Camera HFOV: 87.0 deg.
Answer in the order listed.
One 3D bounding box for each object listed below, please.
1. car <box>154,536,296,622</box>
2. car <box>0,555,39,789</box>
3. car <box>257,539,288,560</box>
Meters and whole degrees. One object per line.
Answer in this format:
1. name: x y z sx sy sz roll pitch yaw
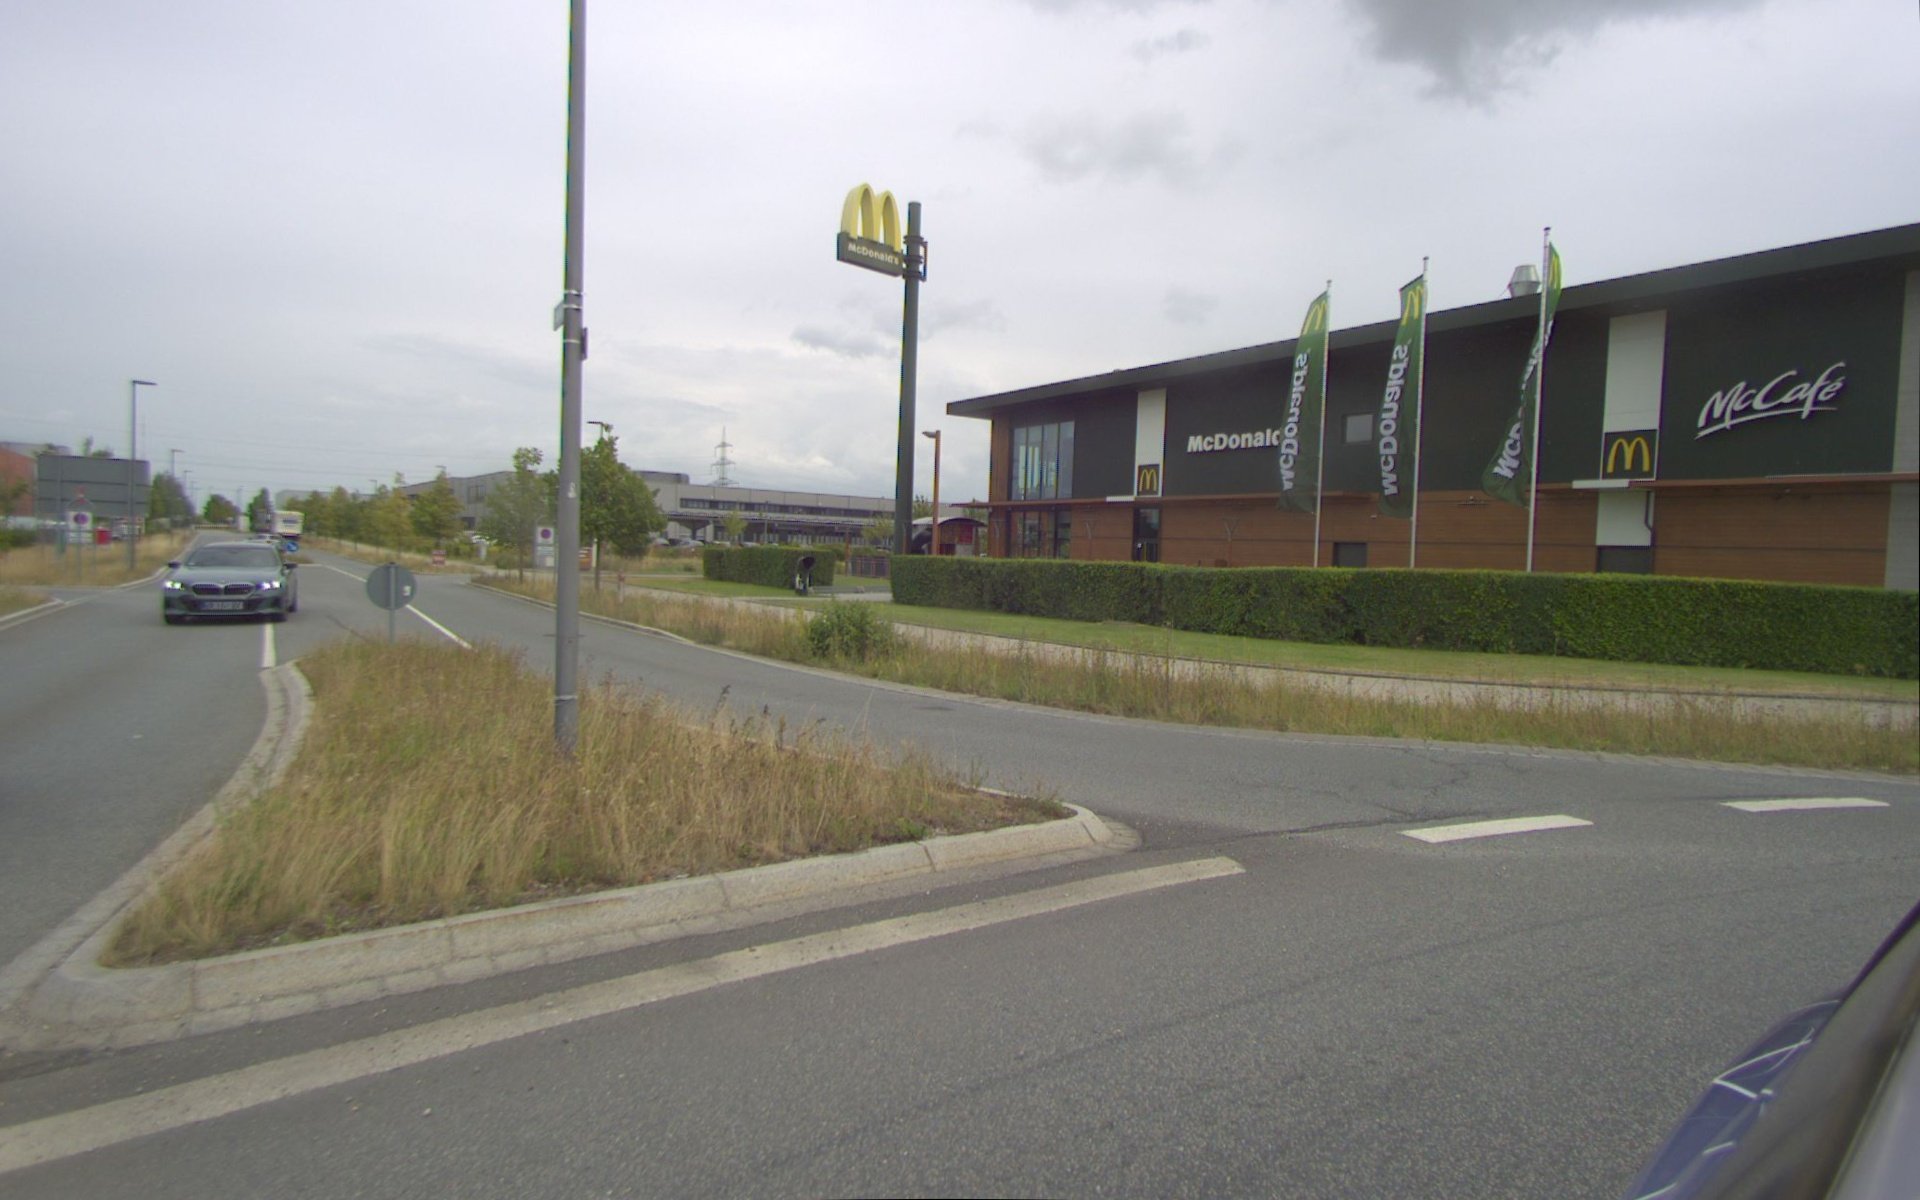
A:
1. car: -14.654 -0.461 20.420 1.961 1.525 4.687 -1 2 -32
2. car: -5.911 0.492 4.135 1.889 1.421 4.697 0 2 -26
3. car: -54.670 -4.051 80.432 1.780 1.482 3.999 4 1 -38
